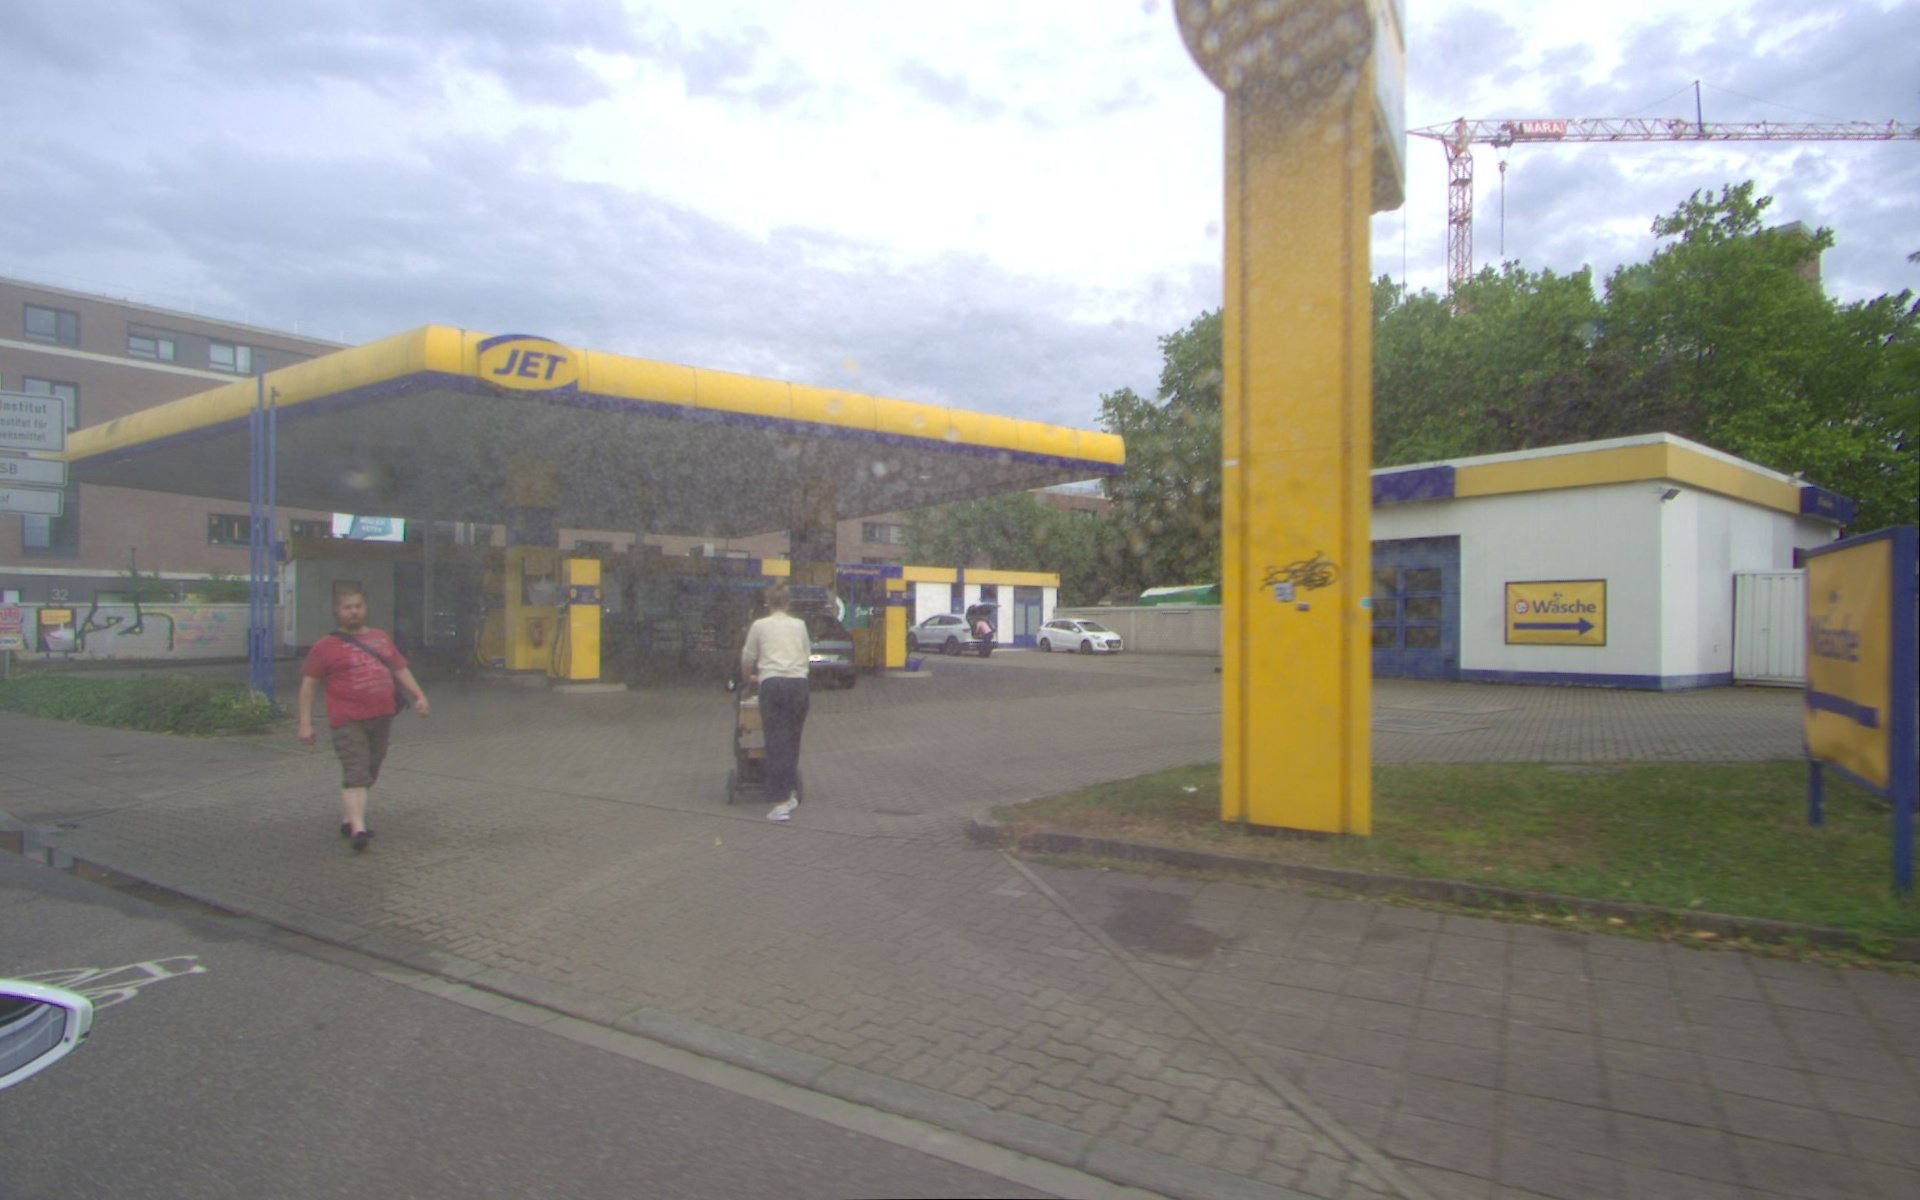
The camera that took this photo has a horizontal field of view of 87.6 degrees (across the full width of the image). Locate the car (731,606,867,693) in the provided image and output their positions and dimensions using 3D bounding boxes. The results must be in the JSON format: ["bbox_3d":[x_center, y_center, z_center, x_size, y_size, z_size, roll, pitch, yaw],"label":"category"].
[{"bbox_3d":[-3.345,0.892,20.099,1.962,1.517,4.315,0,0,-20],"label":"car"}]

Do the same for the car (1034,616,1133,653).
[{"bbox_3d":[5.357,1.549,43.869,1.915,1.546,4.303,3,-4,-37],"label":"car"}]

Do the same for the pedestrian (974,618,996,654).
[{"bbox_3d":[0.971,1.407,38.516,0.573,1.363,0.607,2,-3,-37],"label":"pedestrian"}]

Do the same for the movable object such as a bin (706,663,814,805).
[{"bbox_3d":[-1.689,1.115,8.607,0.755,1.053,1.023,-2,1,-4],"label":"movable object such as a bin"}]

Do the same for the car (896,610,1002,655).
[{"bbox_3d":[-0.492,1.361,40.243,1.821,1.658,4.441,3,-4,-41],"label":"car"}]

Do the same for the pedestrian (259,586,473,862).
[{"bbox_3d":[-4.144,0.796,7.018,0.849,1.761,0.970,-1,1,32],"label":"pedestrian"}]

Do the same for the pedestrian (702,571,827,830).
[{"bbox_3d":[-1.459,0.708,7.678,0.755,1.821,1.161,-2,1,-4],"label":"pedestrian"}]
